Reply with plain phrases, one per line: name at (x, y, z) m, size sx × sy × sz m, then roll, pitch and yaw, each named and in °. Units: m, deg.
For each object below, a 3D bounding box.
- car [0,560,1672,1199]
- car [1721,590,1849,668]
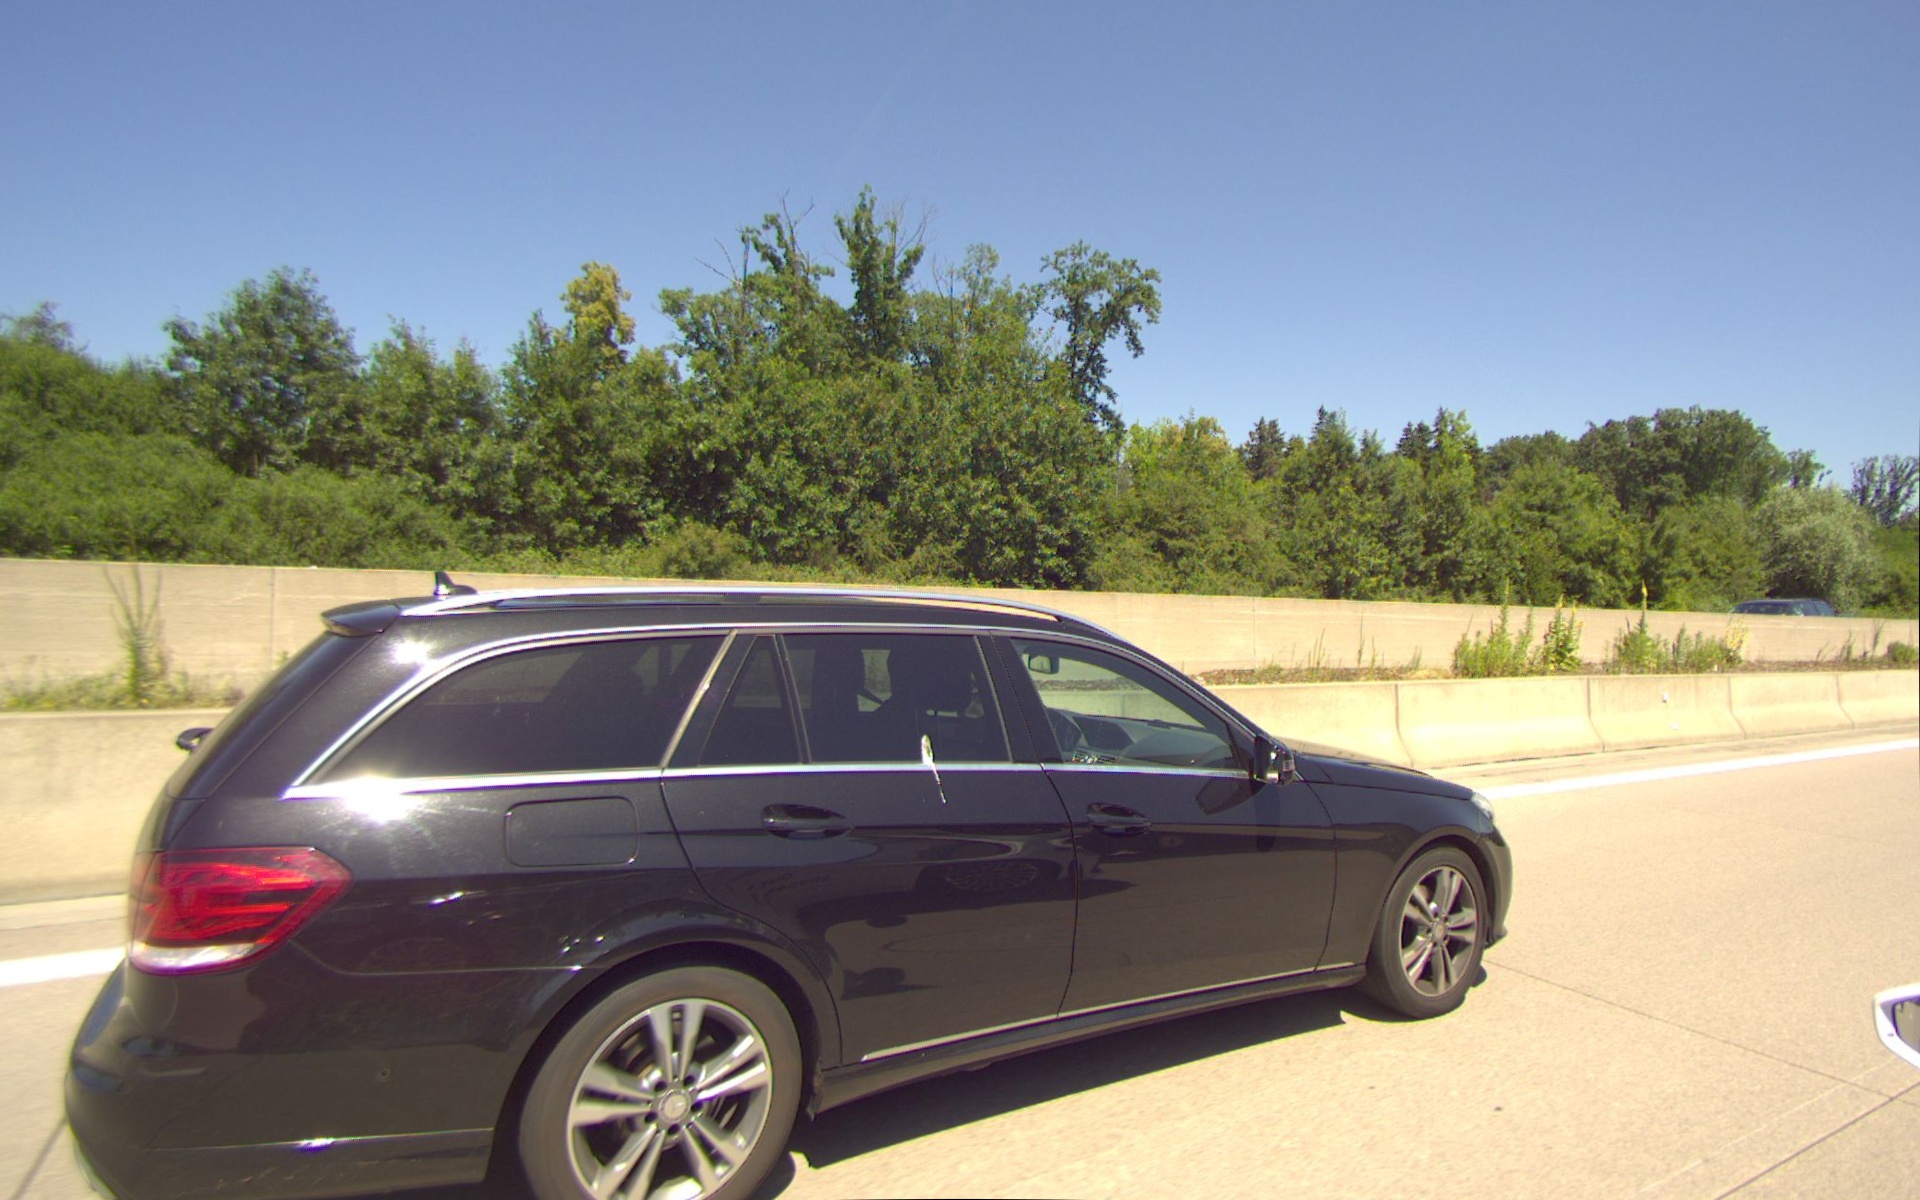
car at (0.243, 0.719, 3.808) m, size 5.536 × 1.493 × 1.882 m, roll 1°, pitch -1°, yaw -30°
car at (22.914, 0.803, 27.884) m, size 3.611 × 2.040 × 1.627 m, roll 1°, pitch 0°, yaw -31°
